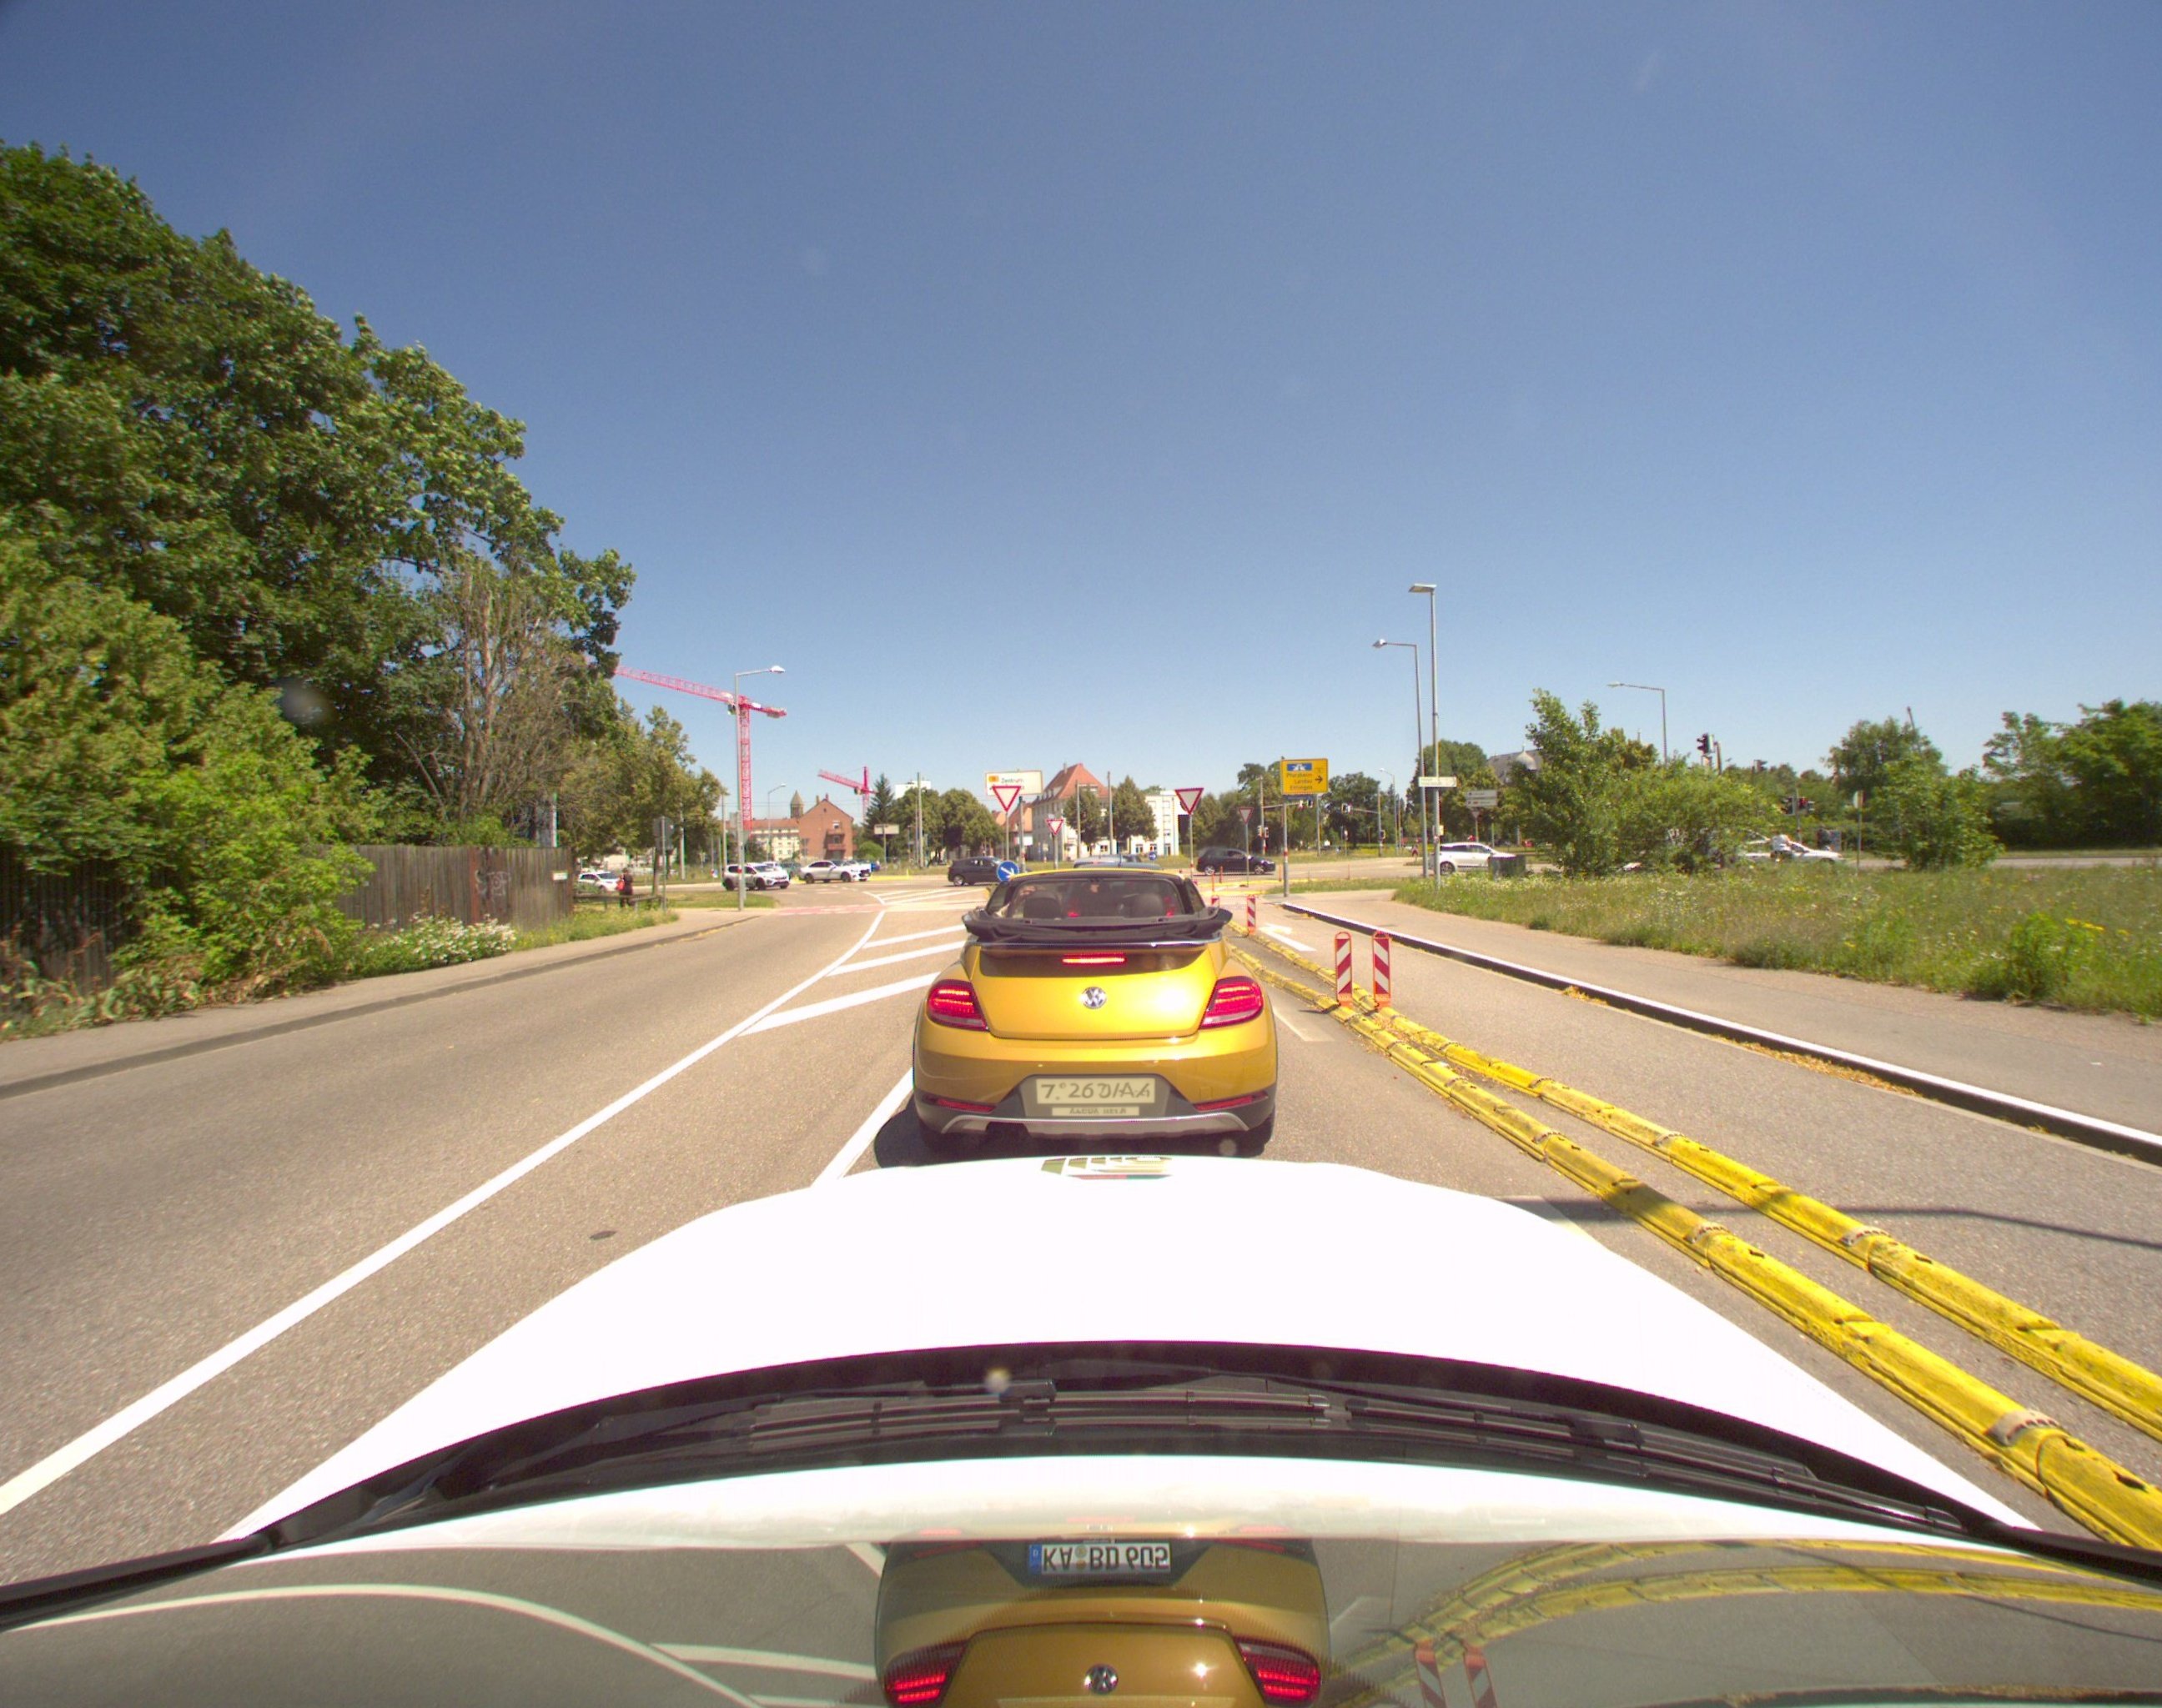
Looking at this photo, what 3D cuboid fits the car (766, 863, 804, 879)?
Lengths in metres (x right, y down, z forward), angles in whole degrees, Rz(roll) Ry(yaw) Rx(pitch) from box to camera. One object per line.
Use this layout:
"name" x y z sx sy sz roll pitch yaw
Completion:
"car" -25.179 1.441 69.444 1.700 1.236 3.788 -1 0 2

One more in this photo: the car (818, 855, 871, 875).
"car" -24.646 1.139 84.980 2.000 1.786 4.963 -3 0 41

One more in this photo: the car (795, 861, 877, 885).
"car" -16.017 1.255 53.284 4.947 1.509 2.011 -1 0 22

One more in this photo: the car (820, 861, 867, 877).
"car" -23.082 1.461 79.364 1.690 1.500 4.247 -1 0 34

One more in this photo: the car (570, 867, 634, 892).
"car" -32.667 1.736 55.563 3.964 1.620 1.689 -1 0 22

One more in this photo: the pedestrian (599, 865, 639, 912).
"pedestrian" -15.774 1.176 27.836 0.866 1.563 0.815 -1 0 24

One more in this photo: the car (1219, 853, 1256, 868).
"car" 20.078 0.816 104.592 4.146 1.672 1.961 -3 0 36

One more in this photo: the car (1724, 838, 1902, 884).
"car" 29.006 0.280 32.497 4.880 1.705 2.011 -1 0 22

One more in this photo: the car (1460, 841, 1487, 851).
"car" 71.751 -1.386 148.868 3.993 1.714 1.990 -1 0 -15

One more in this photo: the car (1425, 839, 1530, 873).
"car" 17.984 0.086 37.075 3.983 1.444 1.637 -1 0 10

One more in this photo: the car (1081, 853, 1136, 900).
"car" 0.930 0.720 27.907 1.730 1.477 4.002 -1 0 2

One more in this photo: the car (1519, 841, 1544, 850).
"car" 84.747 -1.610 153.182 3.996 1.714 1.989 -1 0 -17

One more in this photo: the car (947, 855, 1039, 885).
"car" -4.470 0.818 41.451 4.173 1.442 2.008 -1 0 15

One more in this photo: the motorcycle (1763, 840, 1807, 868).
"motorcycle" 25.793 -0.006 29.817 1.712 0.970 0.625 -1 0 -28

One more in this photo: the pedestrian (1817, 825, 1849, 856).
"pedestrian" 37.873 -0.665 41.022 0.789 1.563 0.823 -1 0 3

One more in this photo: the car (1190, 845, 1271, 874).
"car" 7.986 0.273 43.717 4.164 1.442 2.004 -1 0 7

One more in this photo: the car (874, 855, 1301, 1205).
"car" 0.077 0.734 5.263 1.746 1.422 3.778 -1 0 1

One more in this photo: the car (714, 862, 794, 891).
"car" -19.246 1.310 47.922 4.531 1.566 2.012 -1 0 30

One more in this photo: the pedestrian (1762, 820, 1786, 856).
"pedestrian" 36.470 -0.834 42.862 0.647 1.870 0.737 -1 0 3

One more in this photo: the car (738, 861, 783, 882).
"car" -24.683 1.344 62.901 1.749 1.549 4.002 -1 0 2

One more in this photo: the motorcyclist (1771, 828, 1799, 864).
"motorcyclist" 25.813 -0.294 29.863 0.616 1.289 0.576 -1 0 -28

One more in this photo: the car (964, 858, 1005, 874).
"car" -12.015 1.473 101.376 4.702 1.828 1.980 -1 0 -32

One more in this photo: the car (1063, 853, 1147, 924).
"car" 0.566 0.721 18.997 1.730 1.442 4.002 -1 0 2

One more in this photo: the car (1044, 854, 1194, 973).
"car" 0.536 0.737 12.090 1.841 1.442 4.002 -1 0 2
